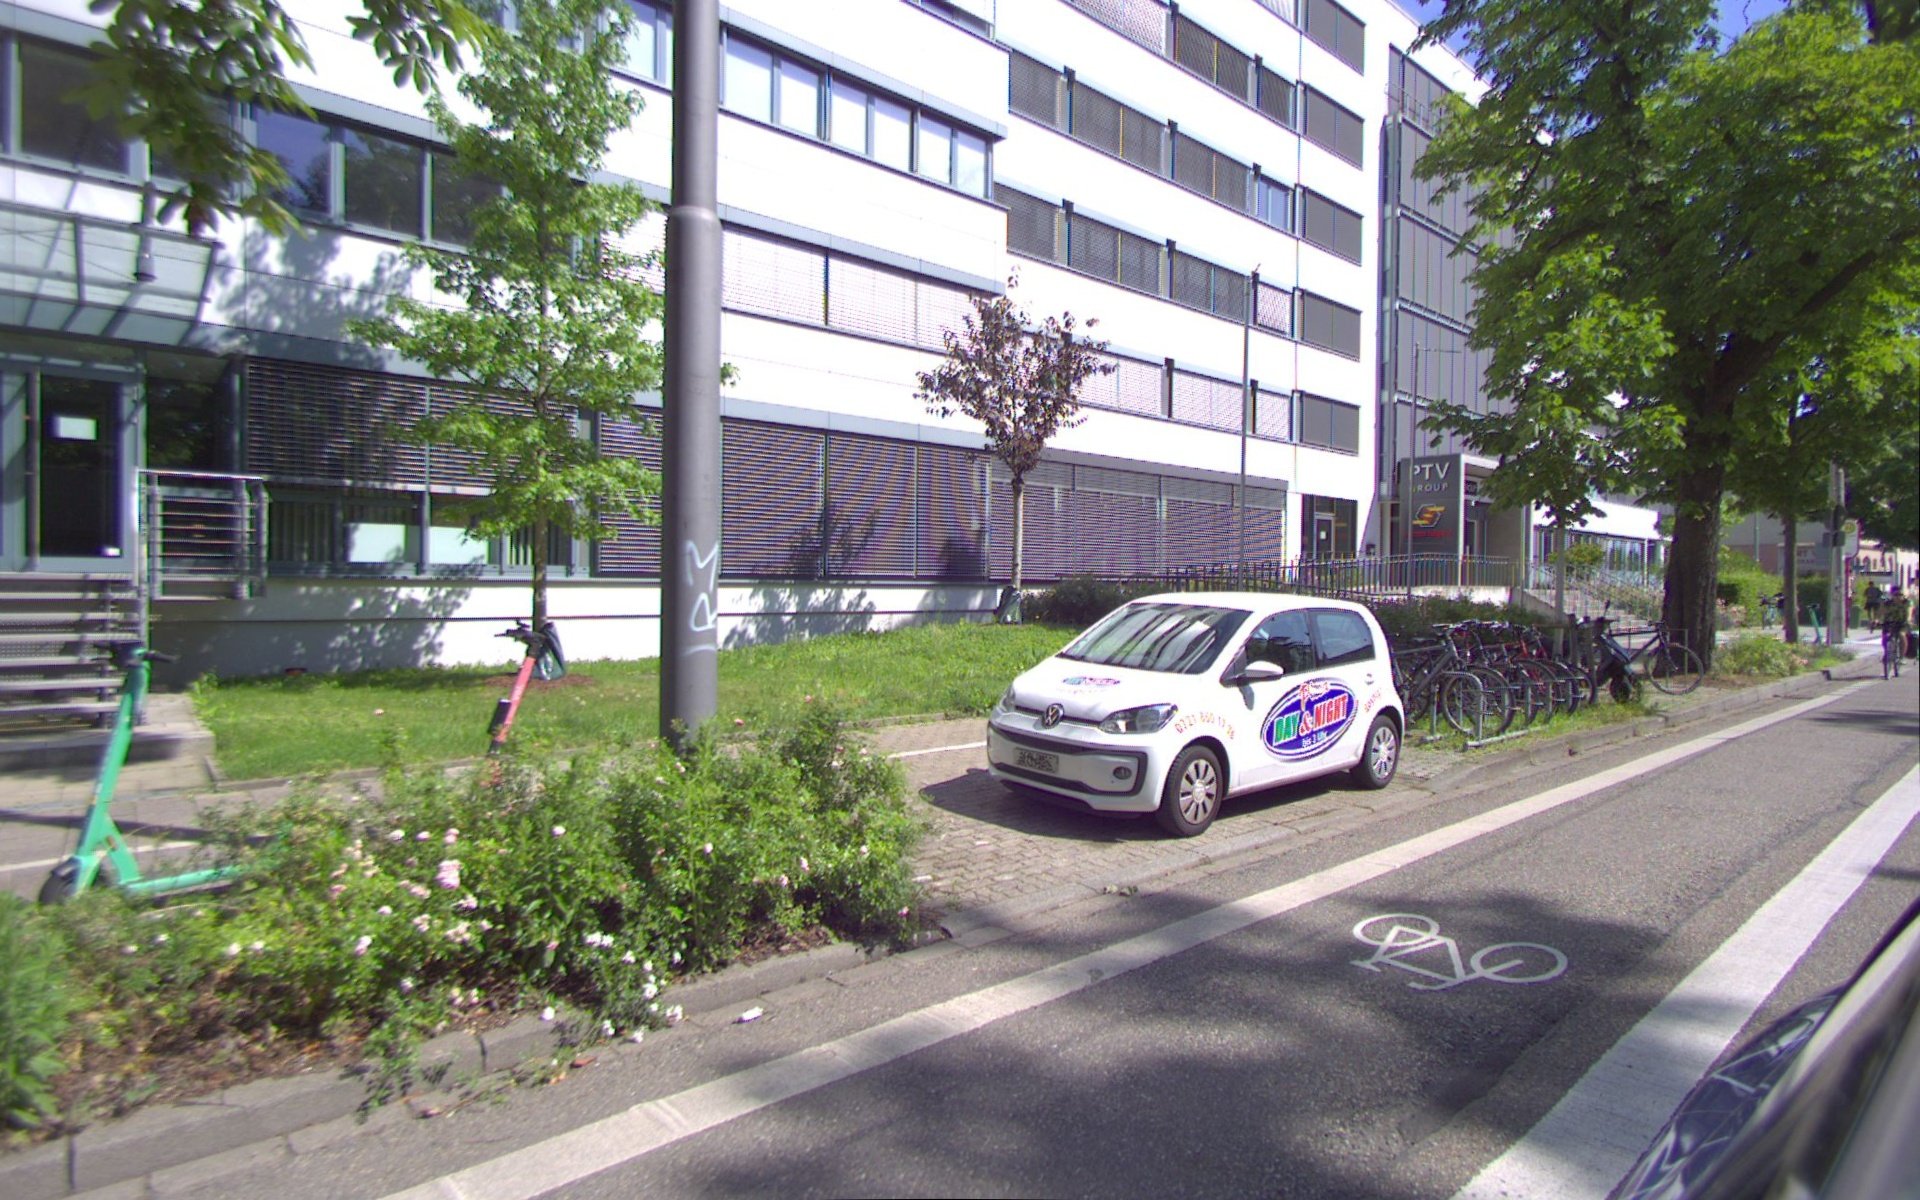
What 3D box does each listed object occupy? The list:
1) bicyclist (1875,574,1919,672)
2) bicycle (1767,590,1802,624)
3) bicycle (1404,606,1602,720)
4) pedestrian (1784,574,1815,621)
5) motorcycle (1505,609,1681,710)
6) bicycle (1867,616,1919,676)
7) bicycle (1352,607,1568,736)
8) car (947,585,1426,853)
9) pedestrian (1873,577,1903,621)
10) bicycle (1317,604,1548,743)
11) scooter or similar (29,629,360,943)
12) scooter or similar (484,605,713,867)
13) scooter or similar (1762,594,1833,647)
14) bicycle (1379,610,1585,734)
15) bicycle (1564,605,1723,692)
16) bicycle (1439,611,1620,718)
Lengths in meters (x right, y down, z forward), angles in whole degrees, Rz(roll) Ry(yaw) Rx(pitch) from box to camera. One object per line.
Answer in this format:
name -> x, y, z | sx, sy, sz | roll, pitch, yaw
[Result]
bicyclist -> 17.256, 0.402, 18.378 | 0.969, 1.746, 0.719 | 0, 0, -33
bicycle -> 28.713, 0.220, 35.249 | 2.031, 1.131, 0.637 | 0, 1, -42
bicycle -> 5.974, 0.643, 11.208 | 0.714, 1.099, 1.796 | 0, 1, -41
pedestrian -> 28.983, -0.098, 34.951 | 0.686, 1.582, 0.973 | 3, 2, 45
motorcycle -> 7.799, 0.693, 12.530 | 0.647, 1.099, 1.727 | 0, 1, -41
bicycle -> 17.195, 0.804, 18.318 | 2.121, 0.996, 0.611 | 0, 0, -32
bicycle -> 5.094, 0.675, 10.411 | 0.674, 1.156, 1.876 | 0, 1, -41
car -> 1.794, 0.644, 7.481 | 3.566, 1.490, 1.633 | -1, 1, -40
pedestrian -> 38.948, -0.058, 42.482 | 0.889, 1.841, 1.057 | 1, 0, 43
bicycle -> 4.613, 0.660, 9.996 | 0.805, 1.184, 1.907 | 0, 1, -41
scooter or similar -> -3.363, 0.750, 4.515 | 1.137, 1.188, 0.402 | -1, 1, -41
scooter or similar -> -2.034, 0.703, 5.748 | 1.137, 1.317, 0.473 | -1, 1, -41
scooter or similar -> 19.254, 0.451, 23.277 | 0.663, 1.181, 1.129 | 0, 1, -38
bicycle -> 5.566, 0.719, 10.885 | 0.668, 1.146, 1.852 | 0, 1, -41
bicycle -> 9.683, 0.646, 14.377 | 0.775, 1.099, 1.727 | 0, 1, -41
bicycle -> 6.605, 0.708, 11.810 | 0.628, 1.099, 1.727 | 0, 1, -41
